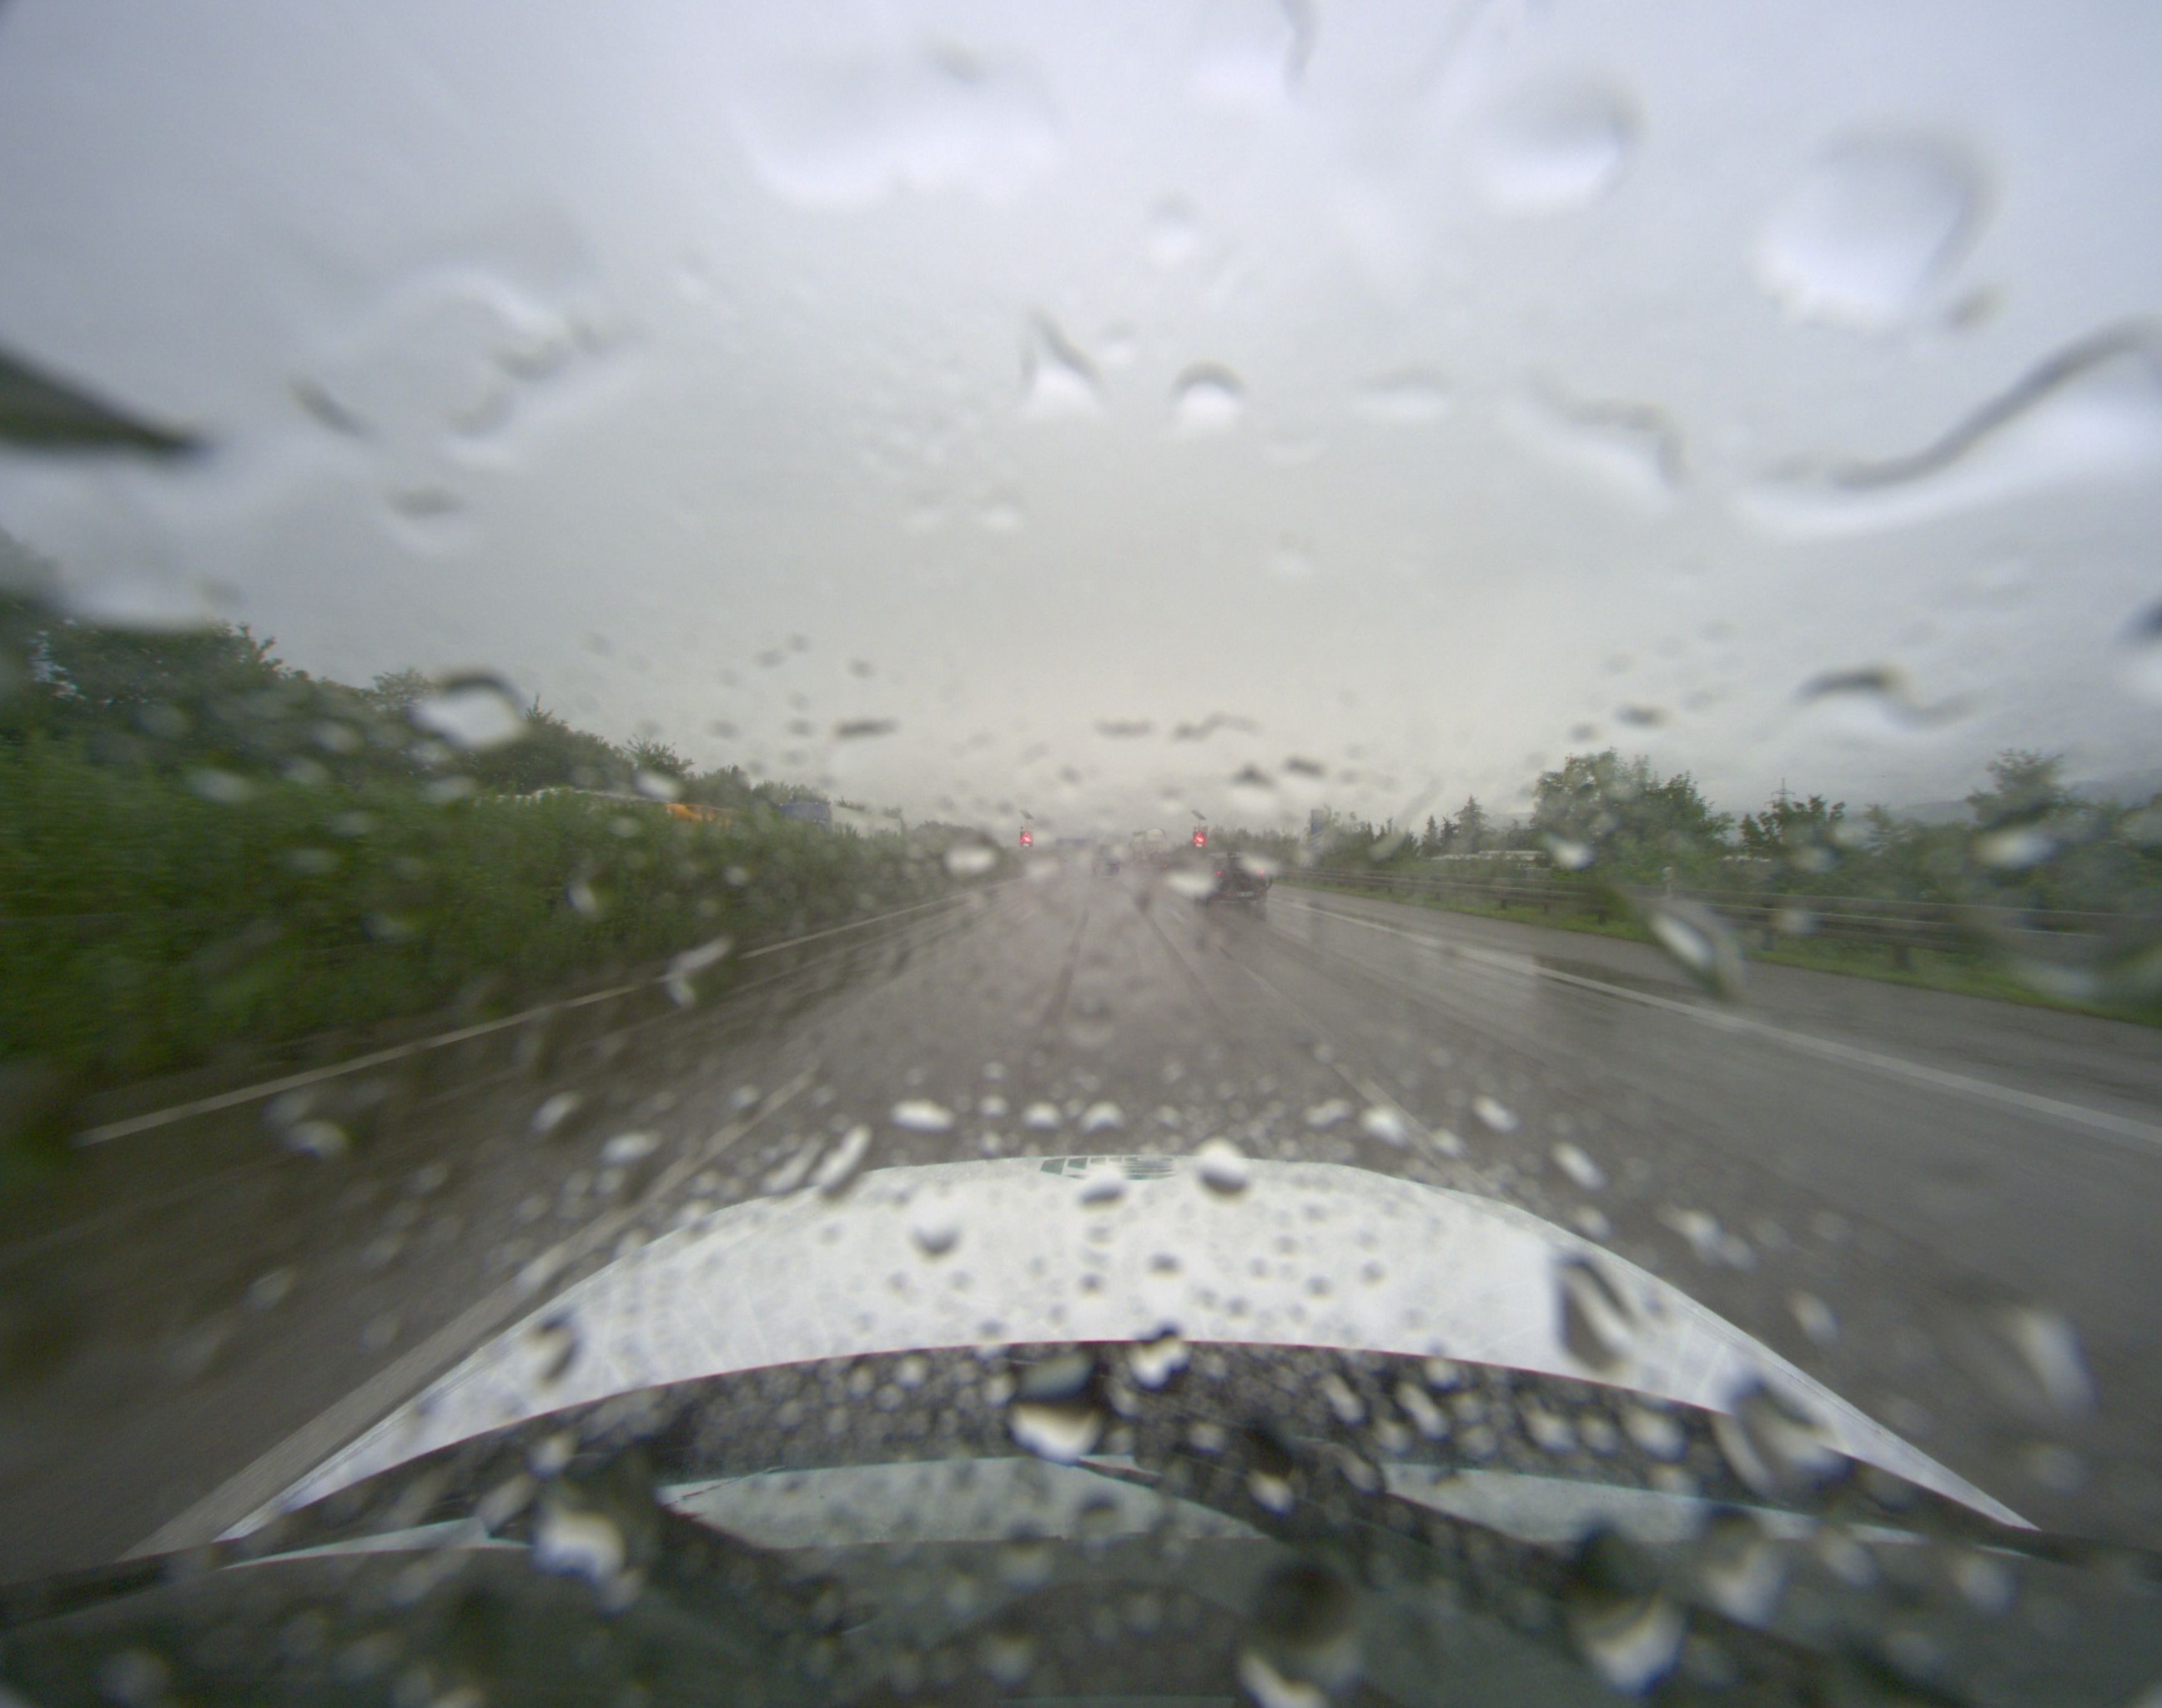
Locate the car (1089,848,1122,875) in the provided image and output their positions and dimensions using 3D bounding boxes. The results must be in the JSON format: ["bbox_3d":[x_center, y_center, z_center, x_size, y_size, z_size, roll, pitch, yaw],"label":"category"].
[{"bbox_3d":[1.700,0.483,54.530,1.969,1.756,4.486,0,0,4],"label":"car"}]

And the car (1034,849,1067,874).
[{"bbox_3d":[-2.239,0.528,60.065,1.916,1.741,4.409,0,0,4],"label":"car"}]

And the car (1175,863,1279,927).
[{"bbox_3d":[4.374,1.162,25.466,2.448,1.746,5.722,0,0,2],"label":"car"}]

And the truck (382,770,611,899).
[{"bbox_3d":[-20.134,-0.589,28.685,3.139,3.992,6.627,0,0,1],"label":"truck"}]

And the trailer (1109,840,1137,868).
[{"bbox_3d":[6.005,0.010,117.227,2.998,3.848,8.612,-1,0,-4],"label":"trailer"}]

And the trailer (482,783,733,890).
[{"bbox_3d":[-20.002,-0.607,36.193,3.186,3.877,13.259,0,0,1],"label":"trailer"}]

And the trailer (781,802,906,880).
[{"bbox_3d":[-15.919,-0.733,56.491,3.855,4.695,15.030,0,0,2],"label":"trailer"}]

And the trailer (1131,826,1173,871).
[{"bbox_3d":[6.234,-0.482,73.394,3.176,3.670,11.673,-1,0,2],"label":"trailer"}]

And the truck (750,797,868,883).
[{"bbox_3d":[-16.083,-0.780,49.175,3.822,4.639,9.409,-1,0,1],"label":"truck"}]
